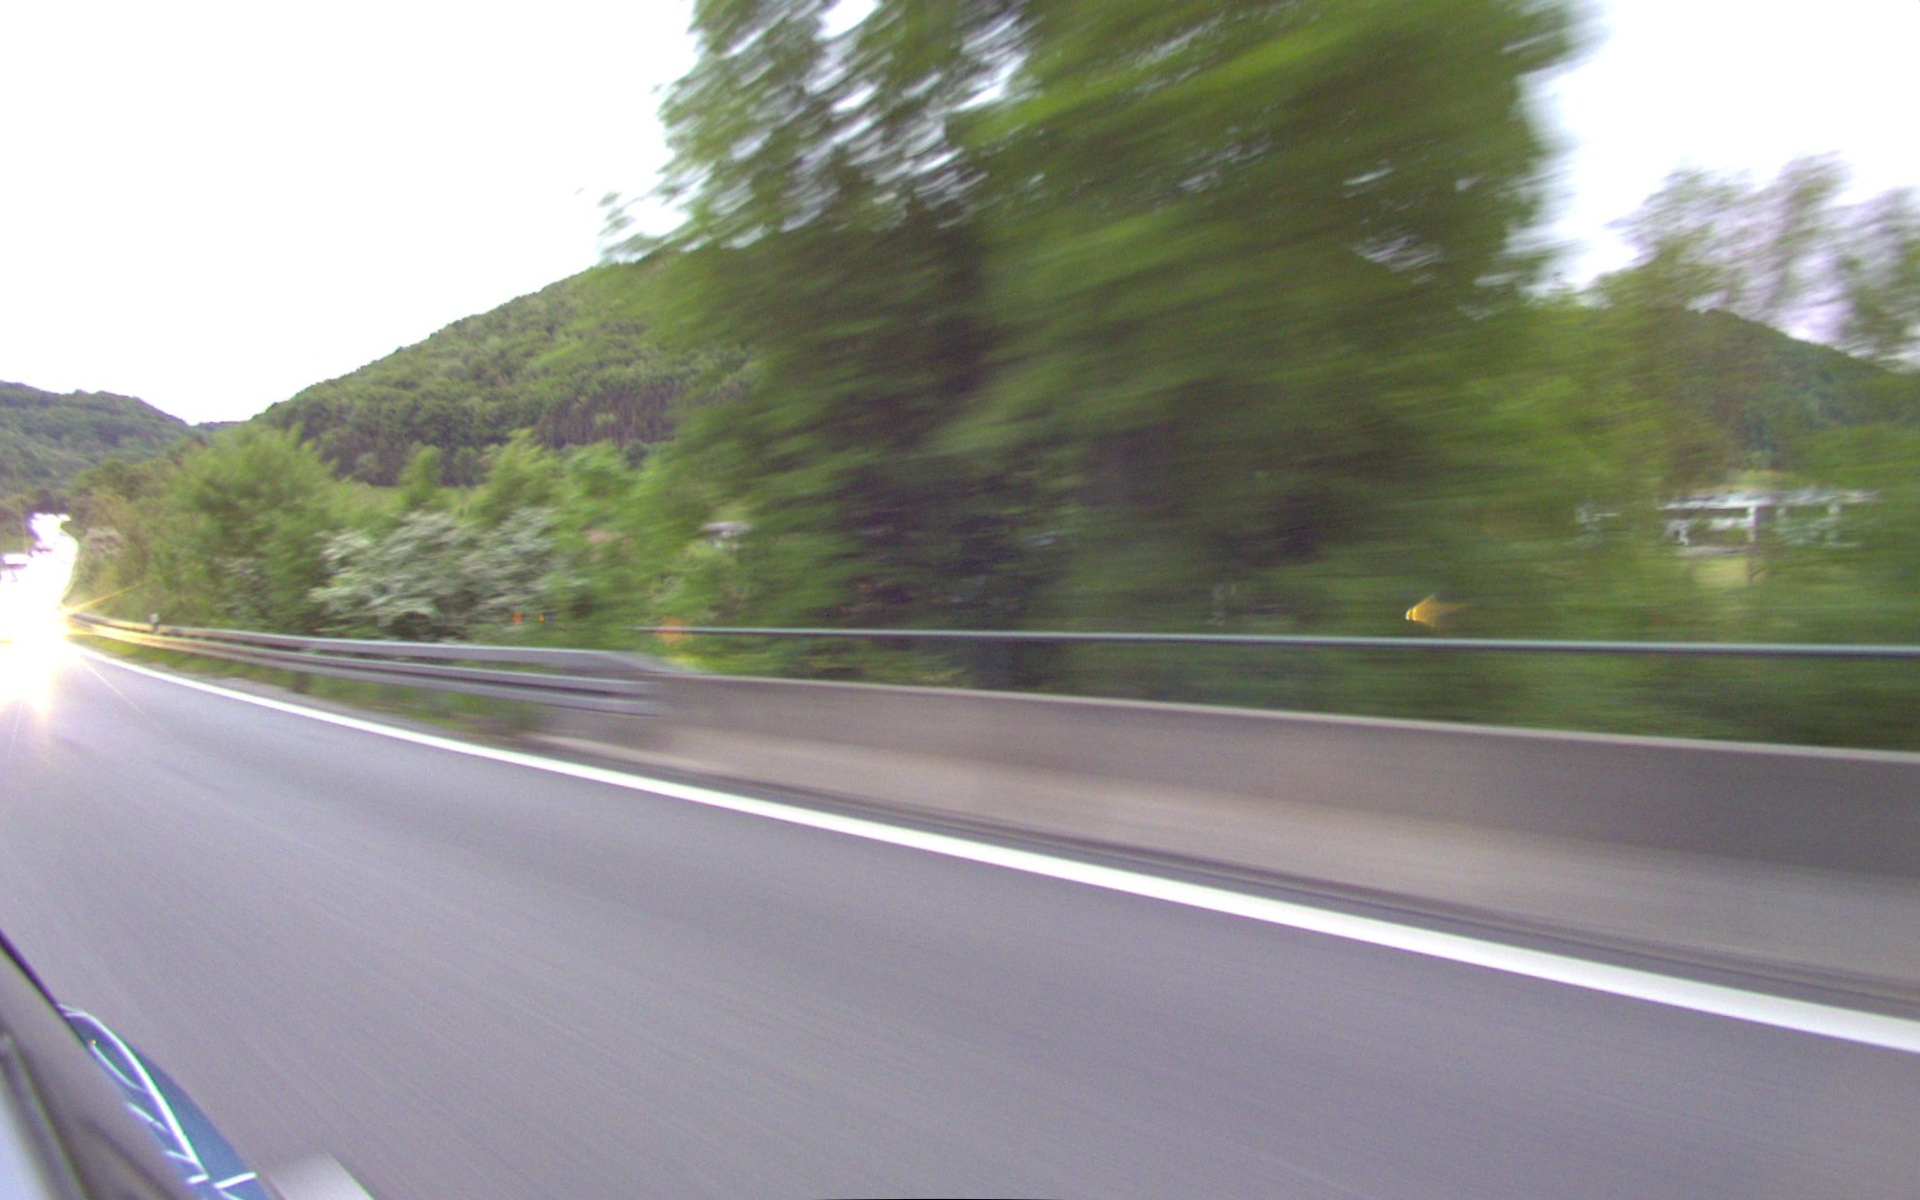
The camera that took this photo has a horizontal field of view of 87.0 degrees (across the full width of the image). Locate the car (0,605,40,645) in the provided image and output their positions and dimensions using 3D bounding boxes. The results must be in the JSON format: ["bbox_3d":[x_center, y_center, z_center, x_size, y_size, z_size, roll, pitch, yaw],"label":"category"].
[{"bbox_3d":[-37.389,0.959,39.737,3.769,1.479,1.667,-1,0,44],"label":"car"}]

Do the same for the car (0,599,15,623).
[{"bbox_3d":[-58.531,0.674,61.392,1.666,1.444,3.671,-1,0,-44],"label":"car"}]
